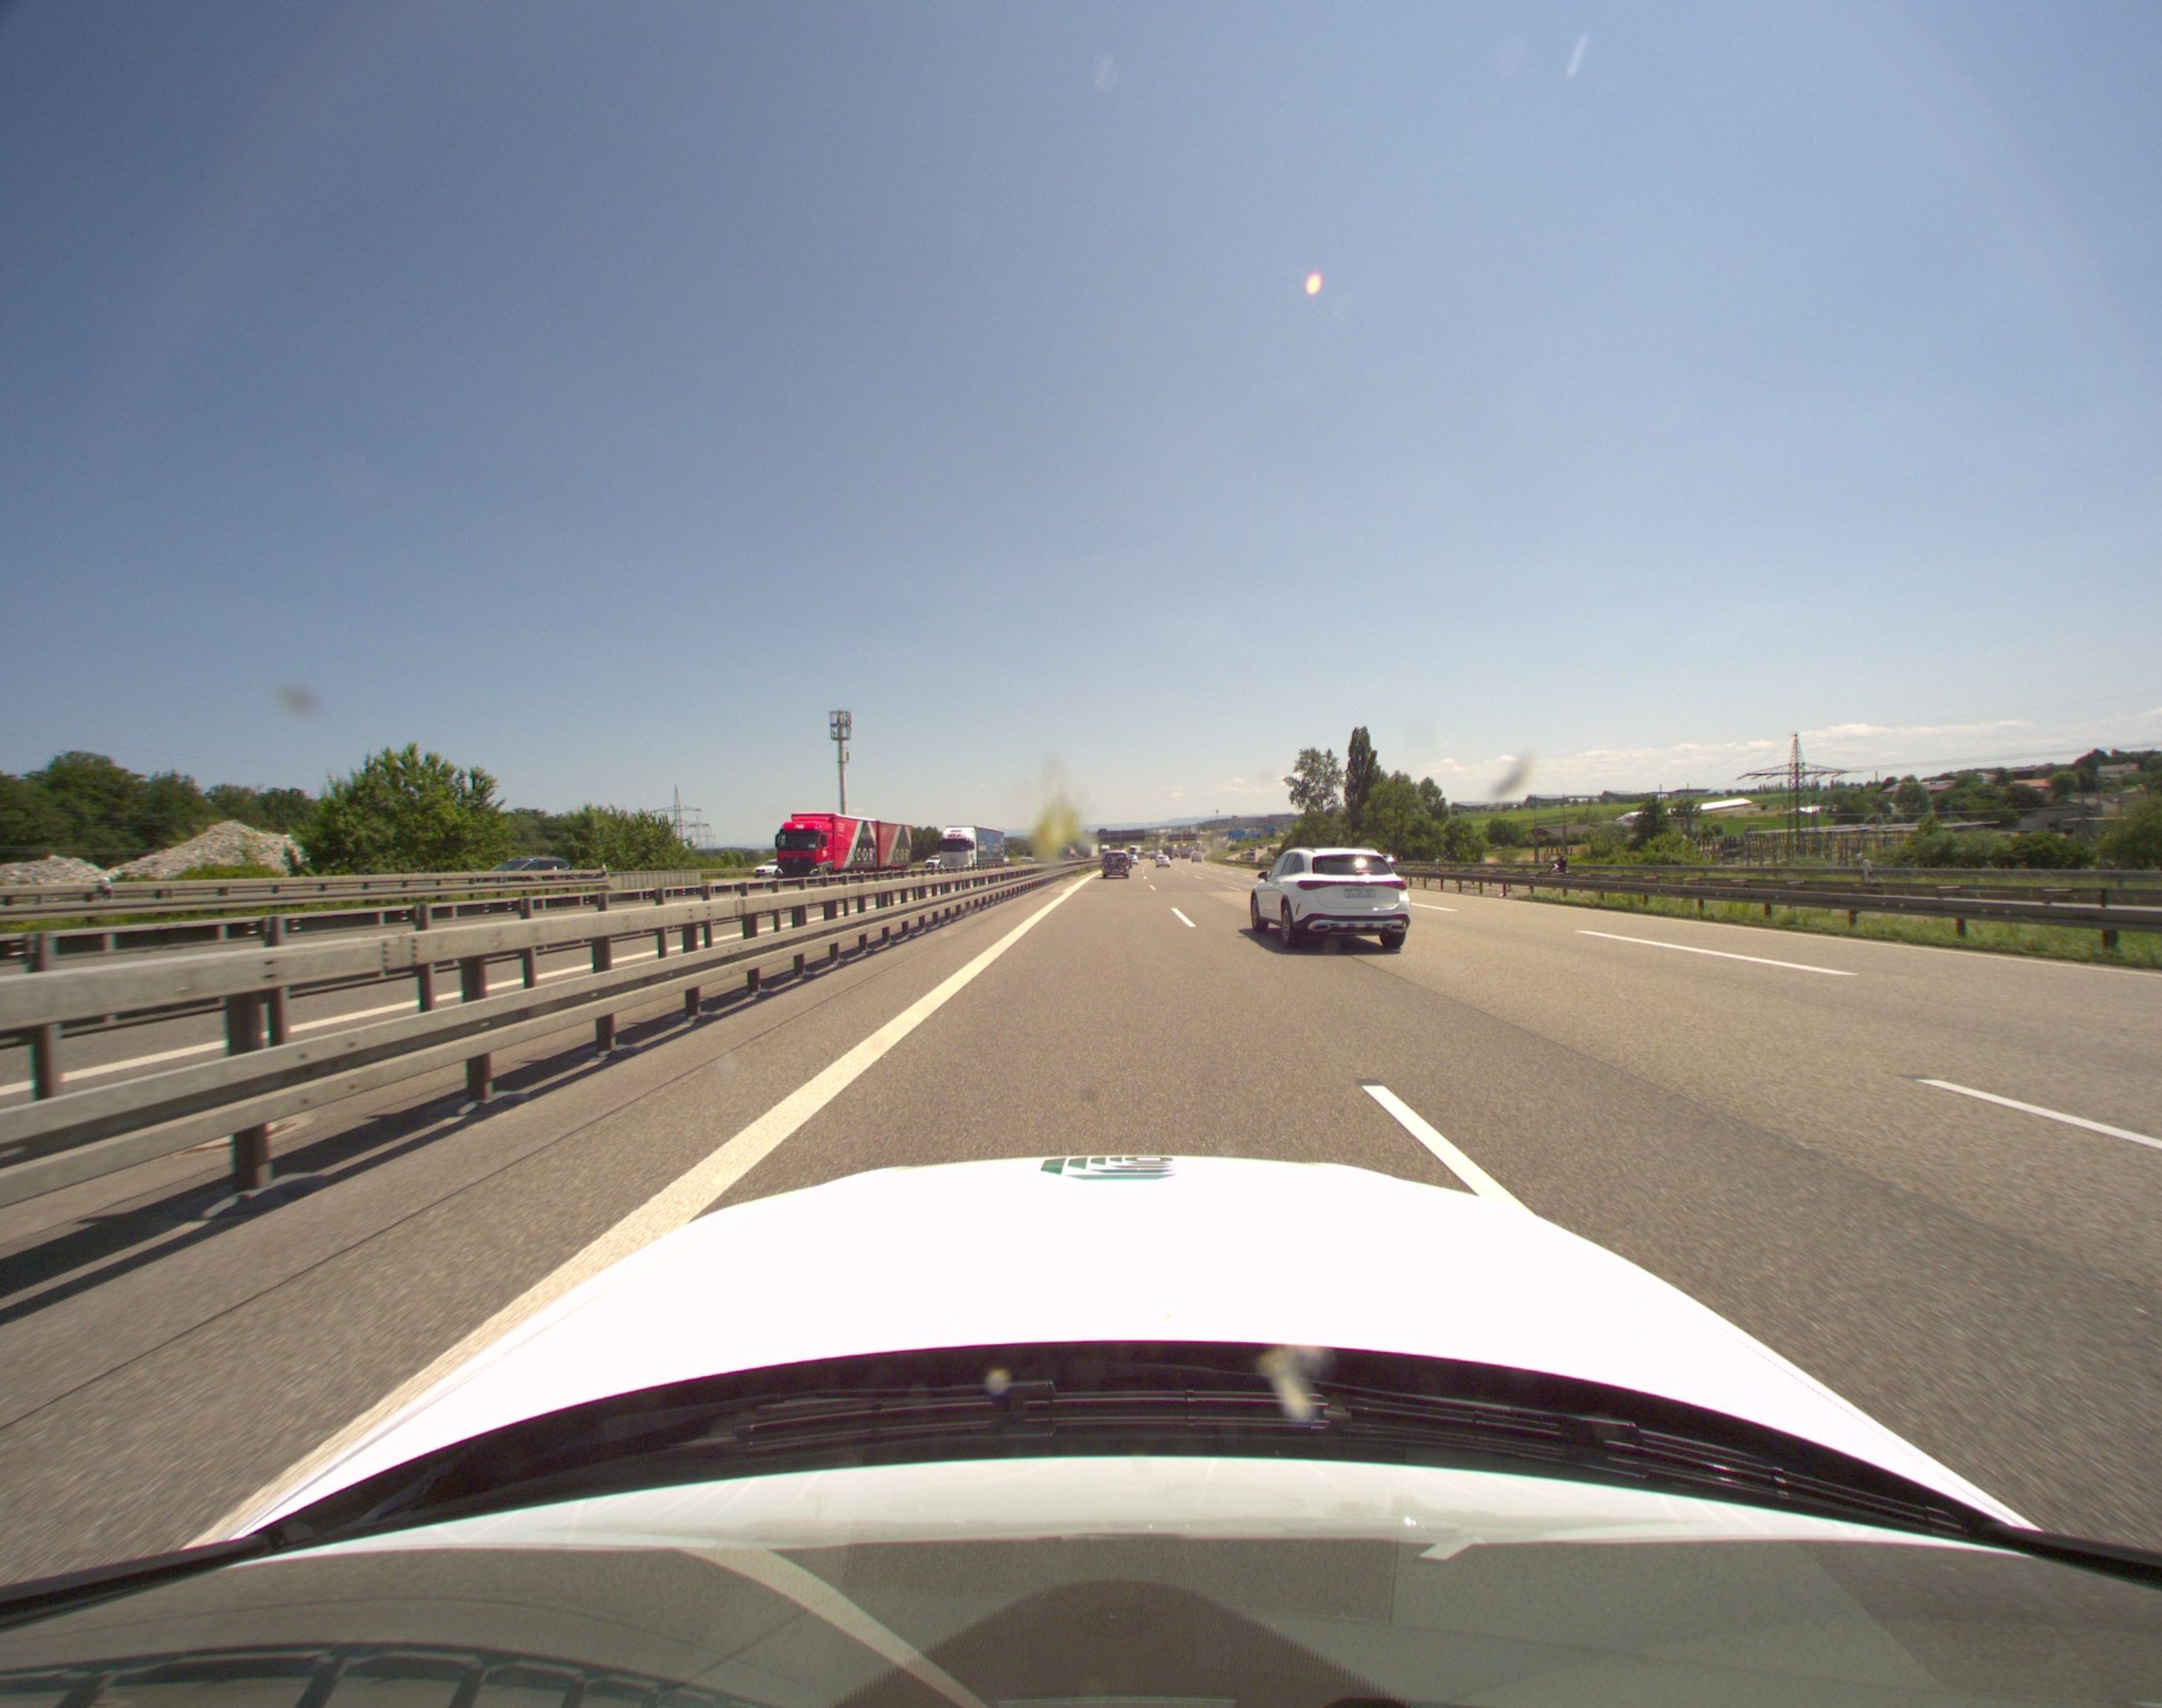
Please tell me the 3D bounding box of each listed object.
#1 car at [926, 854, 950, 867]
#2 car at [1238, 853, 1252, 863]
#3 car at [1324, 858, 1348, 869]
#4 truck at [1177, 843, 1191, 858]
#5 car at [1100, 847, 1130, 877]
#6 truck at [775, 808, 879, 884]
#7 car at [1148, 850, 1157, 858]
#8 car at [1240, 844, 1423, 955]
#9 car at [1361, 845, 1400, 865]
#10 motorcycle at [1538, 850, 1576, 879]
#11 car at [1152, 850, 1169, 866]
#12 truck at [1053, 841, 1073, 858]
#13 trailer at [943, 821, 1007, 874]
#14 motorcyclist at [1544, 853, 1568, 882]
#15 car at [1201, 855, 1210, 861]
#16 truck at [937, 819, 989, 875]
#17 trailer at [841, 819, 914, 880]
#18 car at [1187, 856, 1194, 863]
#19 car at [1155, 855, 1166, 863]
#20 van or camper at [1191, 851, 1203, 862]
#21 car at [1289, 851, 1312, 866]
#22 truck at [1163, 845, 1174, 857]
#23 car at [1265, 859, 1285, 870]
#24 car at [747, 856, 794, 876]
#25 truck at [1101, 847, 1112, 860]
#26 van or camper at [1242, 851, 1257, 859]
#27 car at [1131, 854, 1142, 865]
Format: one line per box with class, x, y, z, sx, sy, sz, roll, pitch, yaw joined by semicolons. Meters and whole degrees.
car;-18.736;0.830;107.016;1.667;1.613;4.416;-1;0;11
car;34.859;0.914;173.091;1.988;2.014;3.997;0;0;-2
car;31.188;1.144;99.658;1.695;1.277;3.997;0;0;-2
truck;31.828;-1.155;251.263;4.016;4.261;11.787;0;2;8
car;2.309;0.534;54.513;1.918;1.919;4.952;0;0;3
truck;-15.029;-0.397;49.224;2.572;4.115;10.355;0;0;3
car;19.685;-0.037;223.225;2.174;2.003;4.008;0;0;7
car;4.234;0.695;14.673;1.891;1.647;5.000;0;0;2
car;24.551;0.096;66.846;1.694;1.575;4.127;0;0;0
motorcycle;22.700;0.506;38.871;0.757;1.366;1.870;0;-1;2
car;9.901;0.492;101.601;1.919;1.919;4.521;0;0;3
truck;-3.910;-0.973;183.391;3.204;3.785;12.916;0;0;4
trailer;-9.304;-0.474;73.676;2.933;4.342;14.634;0;0;4
motorcyclist;22.683;0.619;38.899;0.666;1.366;0.879;0;-1;1
car;32.718;1.002;214.789;1.985;1.690;4.003;0;0;3
truck;-9.678;-0.529;67.757;2.915;4.345;6.922;0;-1;4
trailer;-14.509;-0.274;58.774;2.548;4.105;8.723;0;0;4
car;30.100;1.520;224.276;1.983;1.690;4.008;0;0;7
car;15.118;0.927;154.250;1.972;1.473;4.007;-1;0;6
van or camper;22.766;0.533;159.653;2.145;2.014;4.311;0;0;6
car;28.223;0.587;104.768;1.932;1.923;4.180;0;0;1
truck;23.013;-0.668;214.763;2.689;3.109;10.677;0;0;6
car;29.969;1.645;126.185;1.989;1.596;3.995;0;0;-3
car;-25.410;1.002;66.847;2.082;1.581;4.005;0;0;4
truck;8.091;-0.153;255.576;2.866;4.117;6.395;0;0;6
van or camper;43.027;0.267;208.208;2.525;2.014;4.452;0;0;-6
car;8.306;0.825;122.370;1.568;1.552;3.969;0;0;5
